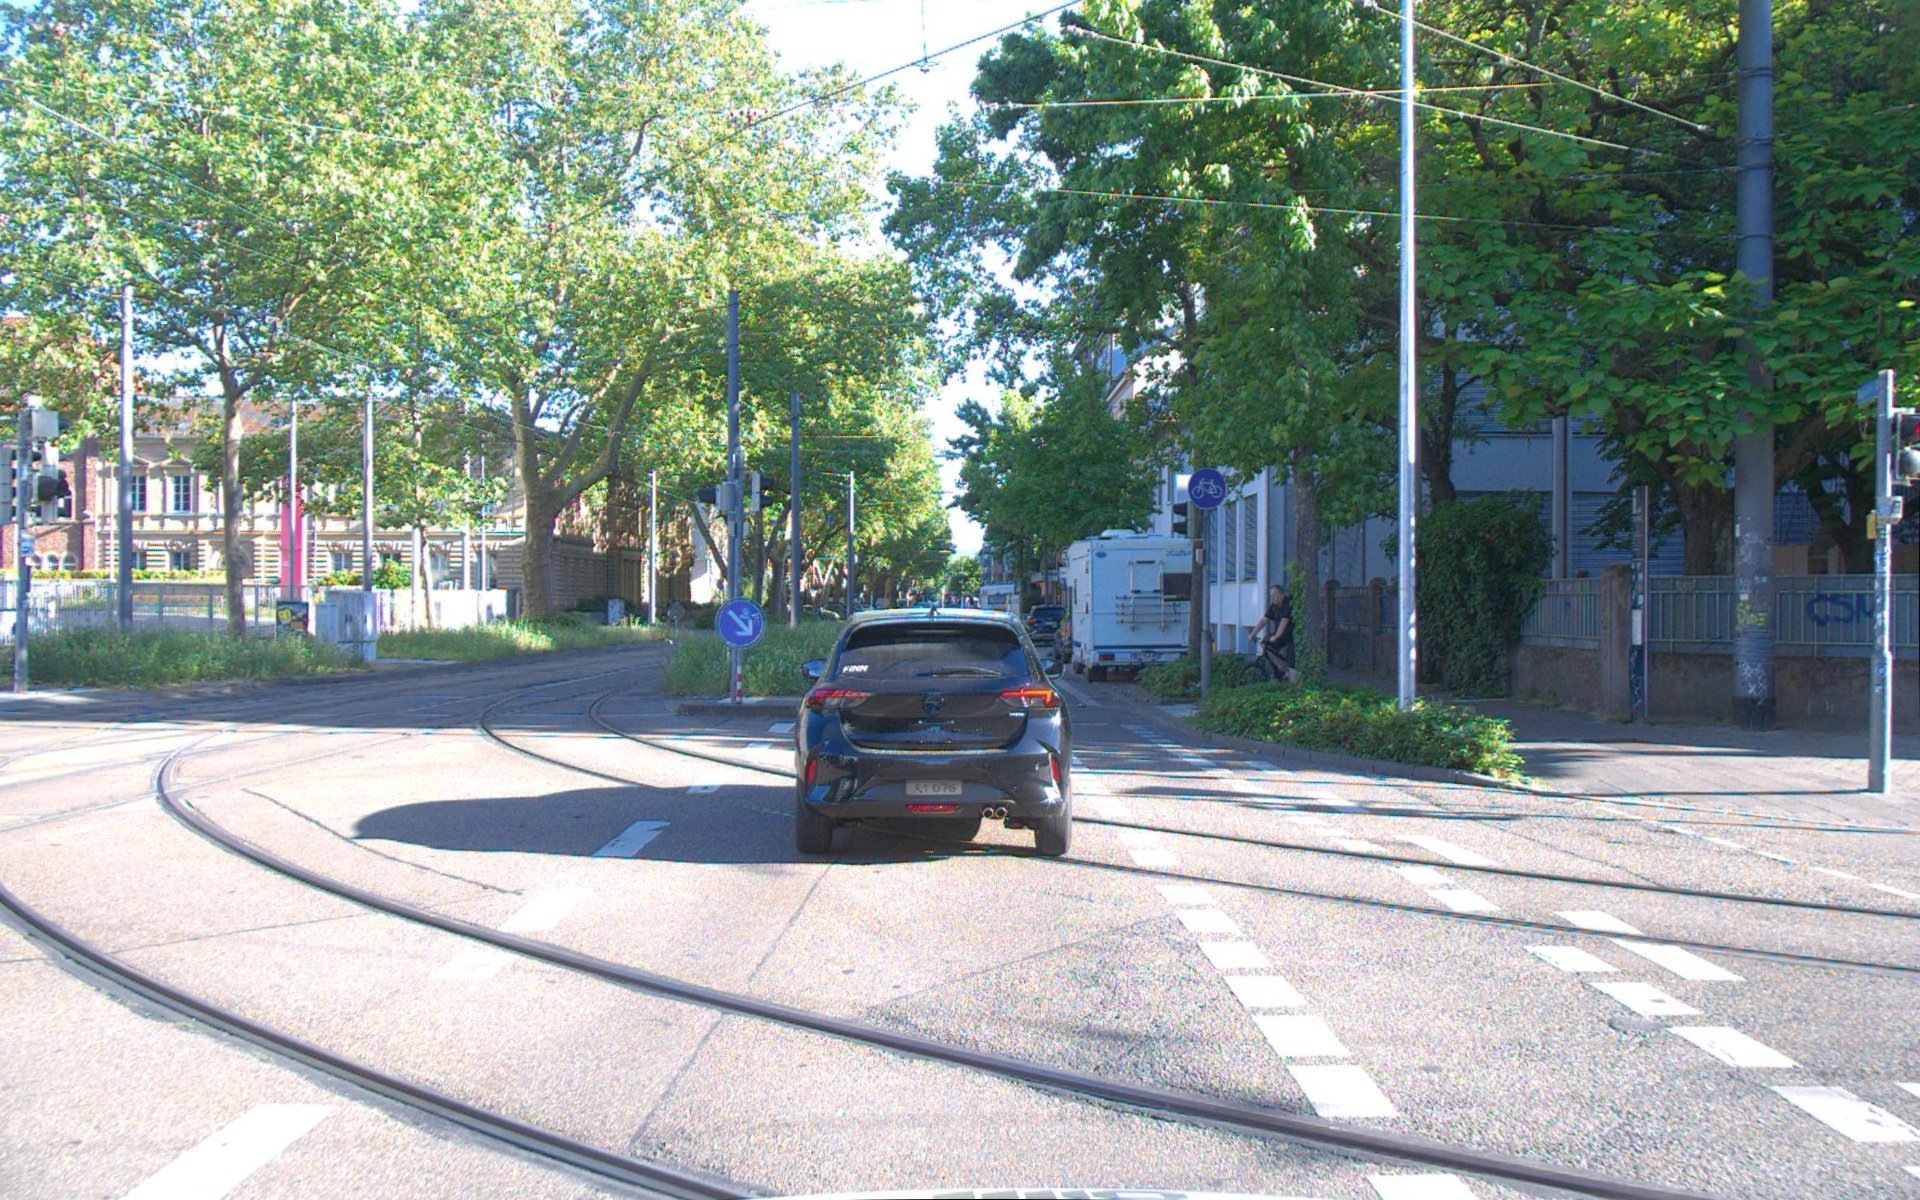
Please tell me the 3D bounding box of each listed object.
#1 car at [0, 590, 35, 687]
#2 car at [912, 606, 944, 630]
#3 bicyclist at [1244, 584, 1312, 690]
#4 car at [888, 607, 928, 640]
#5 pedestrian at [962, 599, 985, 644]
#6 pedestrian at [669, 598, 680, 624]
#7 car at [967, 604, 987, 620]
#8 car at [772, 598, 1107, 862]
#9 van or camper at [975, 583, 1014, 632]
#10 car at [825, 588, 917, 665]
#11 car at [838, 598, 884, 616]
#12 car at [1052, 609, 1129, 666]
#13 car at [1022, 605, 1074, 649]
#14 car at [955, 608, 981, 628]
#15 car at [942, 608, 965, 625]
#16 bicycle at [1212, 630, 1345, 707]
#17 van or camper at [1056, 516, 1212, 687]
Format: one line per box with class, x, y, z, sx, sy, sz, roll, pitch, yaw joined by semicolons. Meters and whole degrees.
car;-17.235;0.659;26.563;1.952;1.644;4.756;0;0;2
car;-2.020;1.148;105.041;1.865;1.450;4.216;0;0;1
bicyclist;4.672;0.534;24.304;0.690;1.536;0.745;0;0;-24
car;-2.568;1.170;82.251;1.753;1.536;3.874;-1;0;1
pedestrian;0.630;0.971;76.648;1.015;2.059;1.212;0;0;-1
pedestrian;-19.927;0.749;115.459;0.605;1.764;0.596;2;0;-1
car;1.634;1.102;155.438;1.865;1.450;4.216;0;0;1
car;-0.072;0.726;11.357;1.865;1.450;4.216;0;0;1
van or camper;2.283;0.481;108.894;2.435;3.046;5.434;2;0;1
car;-2.062;0.602;39.597;1.953;1.656;4.469;2;0;-1
car;-12.200;0.907;204.829;5.570;2.236;2.289;0;0;0
car;3.530;0.993;45.433;1.652;1.445;4.047;-1;0;-2
car;3.284;0.995;62.536;1.753;1.536;3.874;-1;0;1
car;0.593;1.325;123.397;1.865;1.450;4.216;0;0;1
car;-0.583;1.421;143.625;1.865;1.450;4.216;0;0;1
bicycle;4.678;0.992;24.287;1.919;1.089;0.636;0;0;-25
van or camper;3.569;0.037;35.581;2.327;3.179;7.549;-3;0;-1
